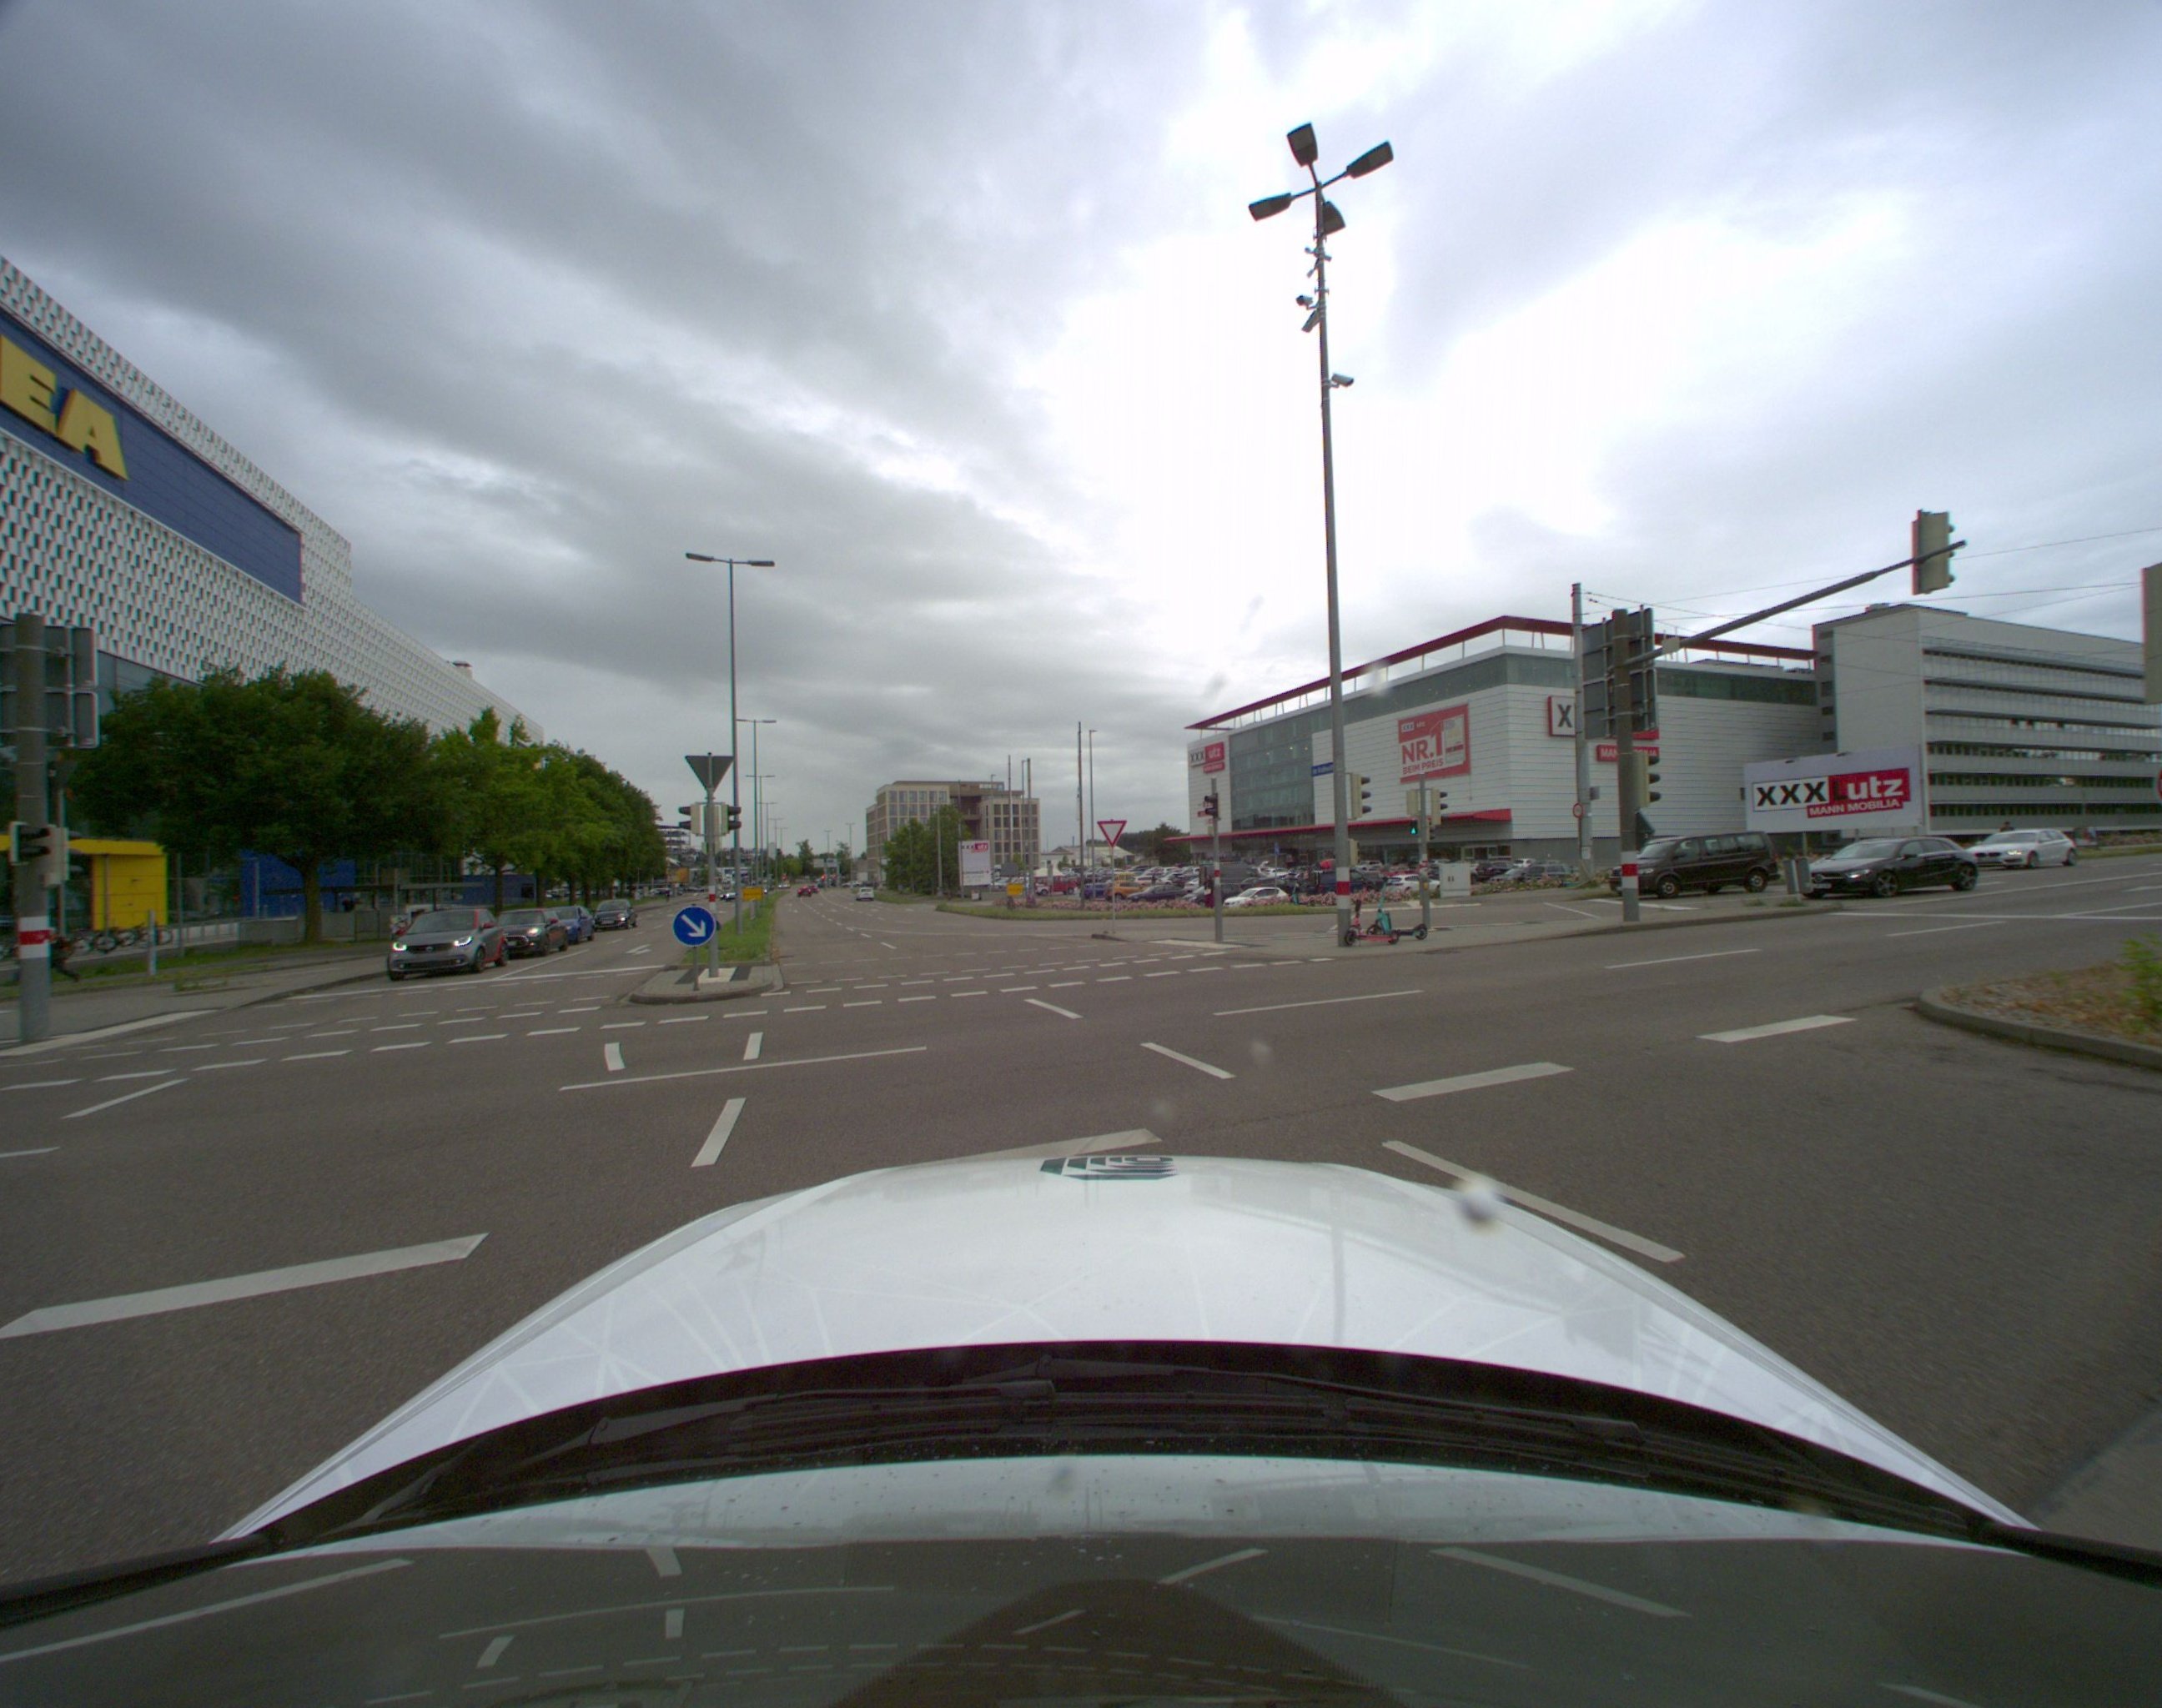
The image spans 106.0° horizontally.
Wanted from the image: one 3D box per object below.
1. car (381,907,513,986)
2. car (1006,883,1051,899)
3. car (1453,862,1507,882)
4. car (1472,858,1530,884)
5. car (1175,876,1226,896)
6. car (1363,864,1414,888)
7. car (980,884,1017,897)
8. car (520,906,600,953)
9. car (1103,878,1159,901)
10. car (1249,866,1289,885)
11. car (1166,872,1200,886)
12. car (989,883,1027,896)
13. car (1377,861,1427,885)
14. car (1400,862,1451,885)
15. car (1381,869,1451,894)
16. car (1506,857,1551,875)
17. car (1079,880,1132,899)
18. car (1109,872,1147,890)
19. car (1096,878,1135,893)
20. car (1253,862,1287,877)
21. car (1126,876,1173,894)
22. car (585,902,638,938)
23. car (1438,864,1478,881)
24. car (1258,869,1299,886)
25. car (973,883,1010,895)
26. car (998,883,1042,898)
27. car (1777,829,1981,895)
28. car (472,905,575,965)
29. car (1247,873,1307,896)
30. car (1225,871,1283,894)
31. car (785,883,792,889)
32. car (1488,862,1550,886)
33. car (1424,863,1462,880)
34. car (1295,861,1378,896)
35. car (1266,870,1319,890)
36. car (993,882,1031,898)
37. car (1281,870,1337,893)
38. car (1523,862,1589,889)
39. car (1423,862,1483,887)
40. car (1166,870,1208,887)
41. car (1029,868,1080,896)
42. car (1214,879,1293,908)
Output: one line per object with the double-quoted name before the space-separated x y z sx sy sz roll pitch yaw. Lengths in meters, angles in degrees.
"car" -15.045 2.130 19.504 1.609 1.503 3.185 -3 -1 -22
"car" -5.617 3.909 86.473 4.388 1.461 1.948 -1 0 -19
"car" 34.247 1.542 69.941 3.999 1.531 1.767 -3 -1 -19
"car" 34.727 1.417 67.413 3.998 1.929 1.938 -2 -2 -18
"car" 10.407 2.801 71.191 3.999 1.552 1.851 -1 -2 -19
"car" 27.342 1.937 72.446 4.001 1.861 1.821 -2 -1 -20
"car" -9.955 4.428 98.207 4.070 1.350 1.751 -1 0 -22
"car" -19.119 2.720 30.045 1.609 1.444 4.113 -4 -1 -21
"car" 3.883 2.755 63.372 3.995 1.643 1.805 -2 -2 -16
"car" 21.012 2.397 90.975 4.004 2.056 1.899 -1 0 -23
"car" 13.648 3.329 109.209 3.996 1.750 1.885 -3 -1 -16
"car" -8.535 4.126 95.175 4.069 1.350 1.822 -1 0 -22
"car" 30.243 1.773 76.662 4.000 2.014 1.987 -2 -1 -19
"car" 31.553 1.787 74.574 3.998 1.818 1.809 -2 -2 -18
"car" 22.551 1.823 54.788 4.210 1.476 1.734 -2 -2 -19
"car" 42.449 1.149 77.260 3.616 1.560 1.640 -3 0 -19
"car" 2.027 2.970 67.938 4.000 1.455 1.802 -1 -2 -20
"car" 5.069 2.914 87.579 3.748 1.768 1.722 -1 0 -19
"car" 3.854 3.519 92.111 4.002 1.534 1.875 -1 -2 -21
"car" 24.115 1.935 103.847 4.004 1.823 1.789 -1 0 -23
"car" 6.966 3.145 82.475 4.425 1.583 1.822 -1 0 -19
"car" -23.244 3.226 40.454 1.609 1.498 4.008 -4 -1 -21
"car" 39.101 1.884 84.562 3.616 1.560 1.640 -3 0 -19
"car" 21.408 2.553 88.210 4.003 1.655 1.821 -1 -2 -22
"car" -11.173 4.374 101.597 4.168 1.350 1.797 -1 0 -22
"car" -6.771 4.001 90.250 4.479 1.419 1.855 -1 0 -19
"car" 20.406 0.210 20.868 4.202 1.464 1.827 -2 -2 -16
"car" -16.682 2.365 24.557 1.668 1.503 4.034 -2 -2 -22
"car" 14.915 2.336 61.966 3.994 1.556 1.937 -2 -2 -15
"car" 13.659 2.241 64.230 4.001 1.568 1.986 -2 -1 -20
"car" -76.544 8.418 212.982 1.605 1.453 3.303 -1 0 -19
"car" 31.509 1.430 58.548 4.005 1.517 1.818 -2 -2 -24
"car" 38.795 1.842 87.292 3.616 1.560 1.640 -3 0 -19
"car" 17.369 1.661 55.403 5.046 2.165 2.110 -2 -2 -16
"car" 17.927 2.173 68.947 4.000 1.556 1.842 -1 -2 -20
"car" -7.898 4.116 93.006 4.066 1.540 1.752 -1 0 -19
"car" 18.538 2.208 66.344 3.999 1.670 1.873 -2 -2 -19
"car" 32.706 1.461 56.099 4.005 1.665 1.871 -1 -1 -24
"car" 29.907 1.609 65.511 4.222 1.781 1.853 -3 -1 -18
"car" 11.359 2.602 87.171 3.999 1.635 1.775 -1 -2 -19
"car" -2.651 2.814 82.096 4.737 2.579 2.156 -1 0 -19
"car" 9.853 2.223 46.552 4.123 1.445 1.862 -1 0 -22
